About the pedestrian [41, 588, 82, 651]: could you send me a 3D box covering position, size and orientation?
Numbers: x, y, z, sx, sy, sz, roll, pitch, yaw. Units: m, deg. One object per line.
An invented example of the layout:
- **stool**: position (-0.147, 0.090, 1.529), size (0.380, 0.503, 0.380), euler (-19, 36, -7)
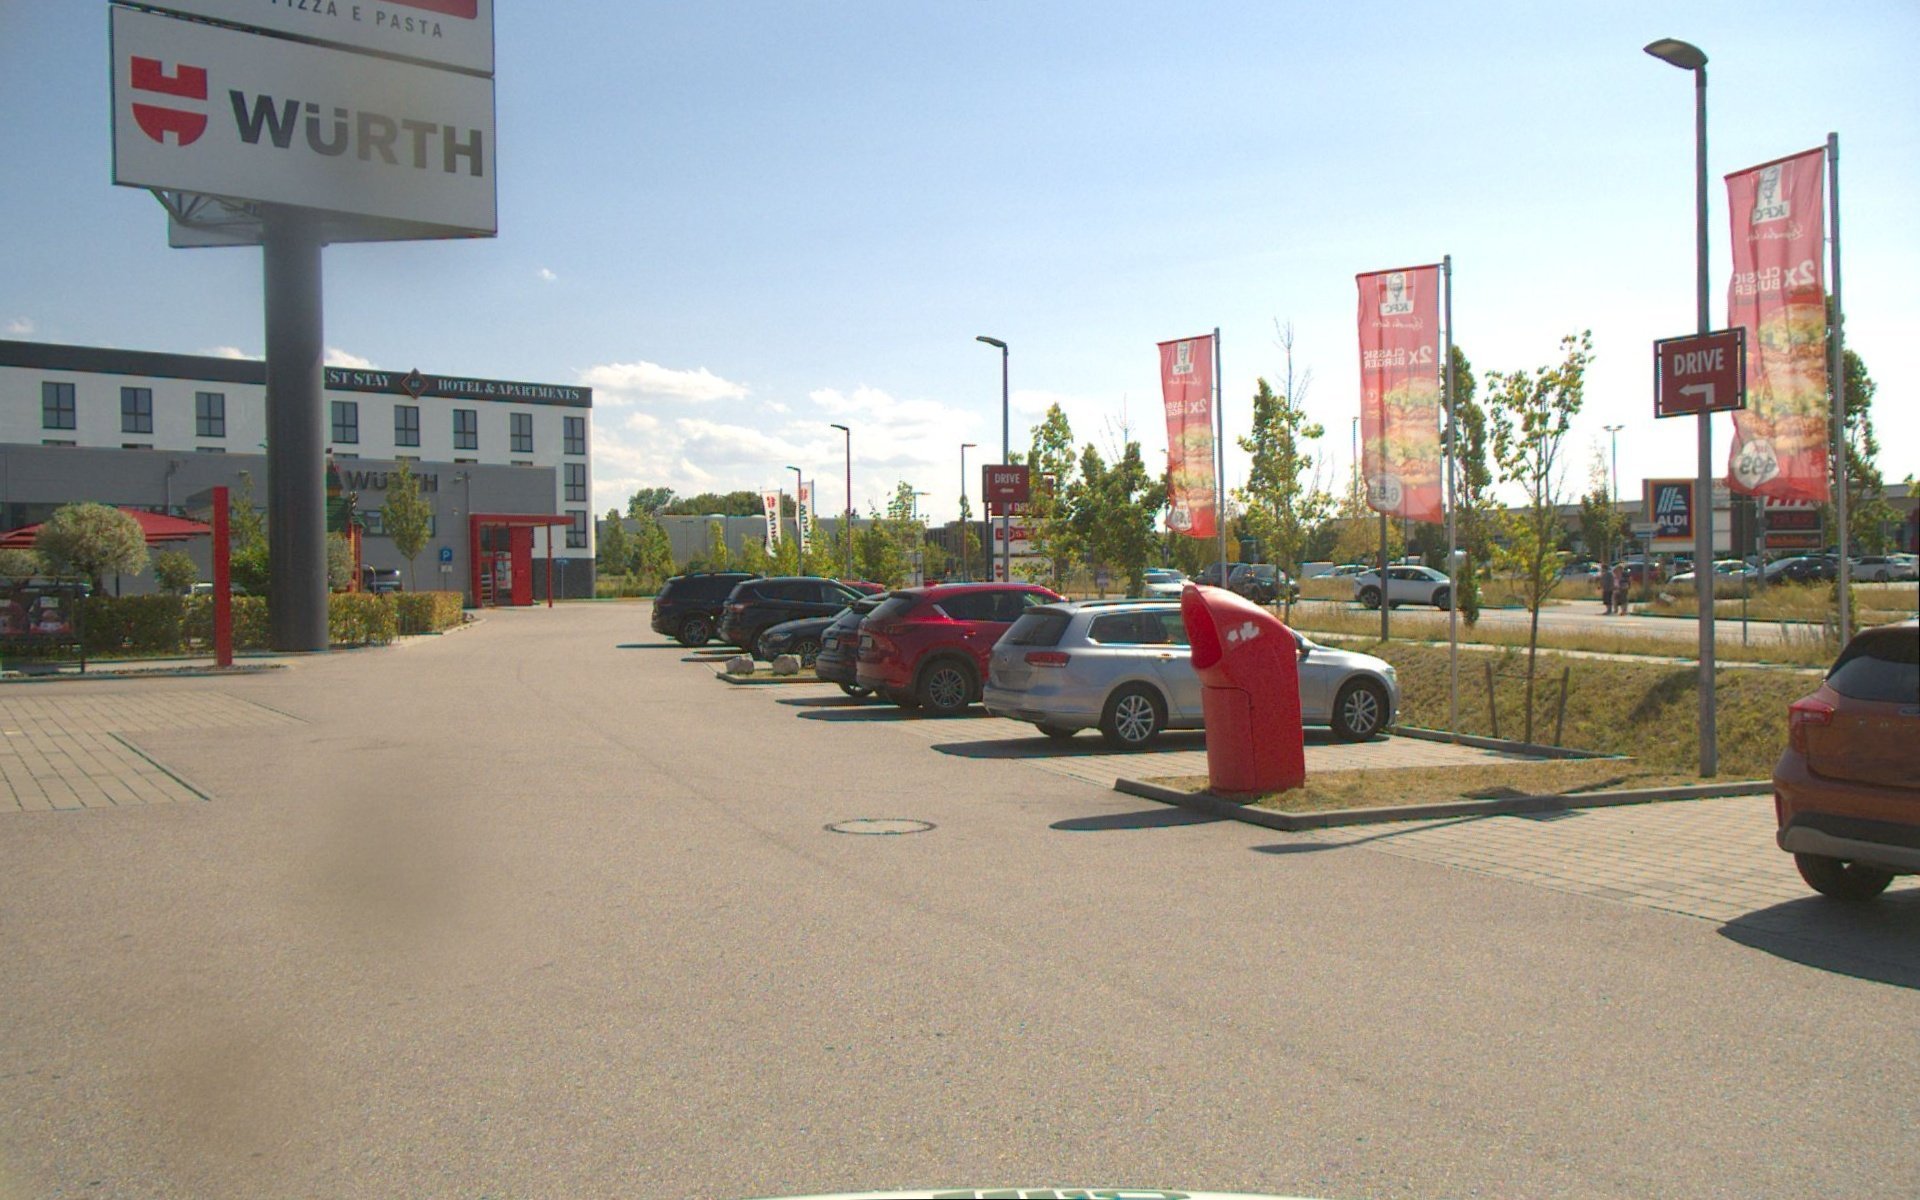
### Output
- **pedestrian**: position (-20.286, 0.424, 37.339), size (0.472, 1.390, 0.649), euler (0, 1, 32)

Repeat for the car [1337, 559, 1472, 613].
- **car**: position (16.138, -0.544, 60.121), size (4.327, 1.878, 1.989), euler (1, 2, 41)

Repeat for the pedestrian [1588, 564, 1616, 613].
- **pedestrian**: position (21.049, -0.386, 54.221), size (0.612, 1.583, 0.666), euler (-1, 1, -7)

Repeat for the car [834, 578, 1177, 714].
- **car**: position (0.588, 0.552, 21.961), size (4.157, 1.666, 1.939), euler (0, 1, -21)

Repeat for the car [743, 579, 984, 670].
- **car**: position (-1.882, 0.427, 31.669), size (4.361, 1.666, 1.889), euler (0, 1, -14)

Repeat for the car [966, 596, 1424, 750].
- **car**: position (2.468, 0.695, 17.351), size (4.521, 1.437, 1.730), euler (0, 1, -21)

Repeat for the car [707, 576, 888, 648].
- **car**: position (-3.878, 0.252, 39.233), size (4.003, 1.637, 1.887), euler (0, 1, -17)

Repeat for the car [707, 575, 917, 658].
- **car**: position (-3.252, 0.333, 36.170), size (4.256, 1.732, 1.884), euler (0, 1, -21)

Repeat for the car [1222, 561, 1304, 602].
- **car**: position (12.839, -0.814, 70.367), size (1.840, 1.693, 4.589), euler (-1, 1, -12)

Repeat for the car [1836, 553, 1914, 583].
- **car**: position (50.063, -1.744, 90.527), size (1.650, 1.579, 3.429), euler (-1, 2, -38)

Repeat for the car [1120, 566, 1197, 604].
- **car**: position (8.632, -0.690, 72.318), size (1.958, 1.553, 4.644), euler (-1, 1, -12)

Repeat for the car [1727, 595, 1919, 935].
- **car**: position (6.115, 0.730, 8.311), size (4.284, 1.495, 1.818), euler (0, 0, -26)

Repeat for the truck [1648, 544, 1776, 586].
- **truck**: position (34.721, -1.632, 76.350), size (5.323, 1.896, 1.993), euler (-1, 1, -14)

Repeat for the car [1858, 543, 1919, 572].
- **car**: position (52.159, -2.385, 92.080), size (1.650, 1.579, 3.429), euler (-1, 2, -38)

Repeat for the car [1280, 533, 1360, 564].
- **car**: position (23.771, -3.406, 109.295), size (4.993, 2.048, 1.986), euler (-1, 1, -24)

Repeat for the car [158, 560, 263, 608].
- **car**: position (-25.579, -0.565, 56.398), size (1.939, 1.557, 4.305), euler (-2, 2, -44)

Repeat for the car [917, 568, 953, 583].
- **car**: position (-2.945, -2.865, 194.765), size (3.923, 1.686, 1.879), euler (-2, 2, -41)

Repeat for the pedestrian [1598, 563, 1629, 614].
- **pedestrian**: position (21.080, -0.371, 53.361), size (0.677, 1.627, 0.755), euler (-1, 1, -7)

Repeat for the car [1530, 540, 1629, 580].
- **car**: position (33.274, -2.158, 88.844), size (5.094, 2.048, 1.986), euler (-1, 1, -24)

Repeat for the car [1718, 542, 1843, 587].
- **car**: position (35.341, -1.550, 71.245), size (4.635, 1.878, 1.994), euler (-1, 1, -13)

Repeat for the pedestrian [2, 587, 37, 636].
- **pedestrian**: position (-24.283, 0.292, 42.713), size (0.699, 1.219, 0.612), euler (-1, 1, -25)

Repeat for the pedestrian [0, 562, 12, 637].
- **pedestrian**: position (-19.804, -0.020, 33.970), size (0.520, 1.531, 0.562), euler (-1, 1, -36)

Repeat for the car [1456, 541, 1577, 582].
- **car**: position (31.612, -2.193, 94.046), size (6.199, 2.276, 2.800), euler (-1, 1, -20)

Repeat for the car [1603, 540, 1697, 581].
- **car**: position (35.076, -2.012, 84.103), size (4.003, 2.048, 1.996), euler (-1, 1, -10)

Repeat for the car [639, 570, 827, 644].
- **car**: position (-5.726, 0.155, 41.637), size (4.501, 1.791, 1.887), euler (0, 0, -16)

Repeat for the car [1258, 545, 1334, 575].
- **car**: position (23.322, -2.777, 114.935), size (4.993, 2.048, 1.986), euler (-1, 1, -24)

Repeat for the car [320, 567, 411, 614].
- **car**: position (-25.390, -0.437, 70.521), size (2.059, 1.913, 4.806), euler (-2, 2, -41)

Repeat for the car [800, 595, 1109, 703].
- **car**: position (-0.074, 0.653, 23.890), size (4.136, 1.435, 1.761), euler (0, 1, -24)

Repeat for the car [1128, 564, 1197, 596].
- **car**: position (10.179, -1.020, 83.393), size (1.960, 1.530, 4.640), euler (-1, 1, -14)
